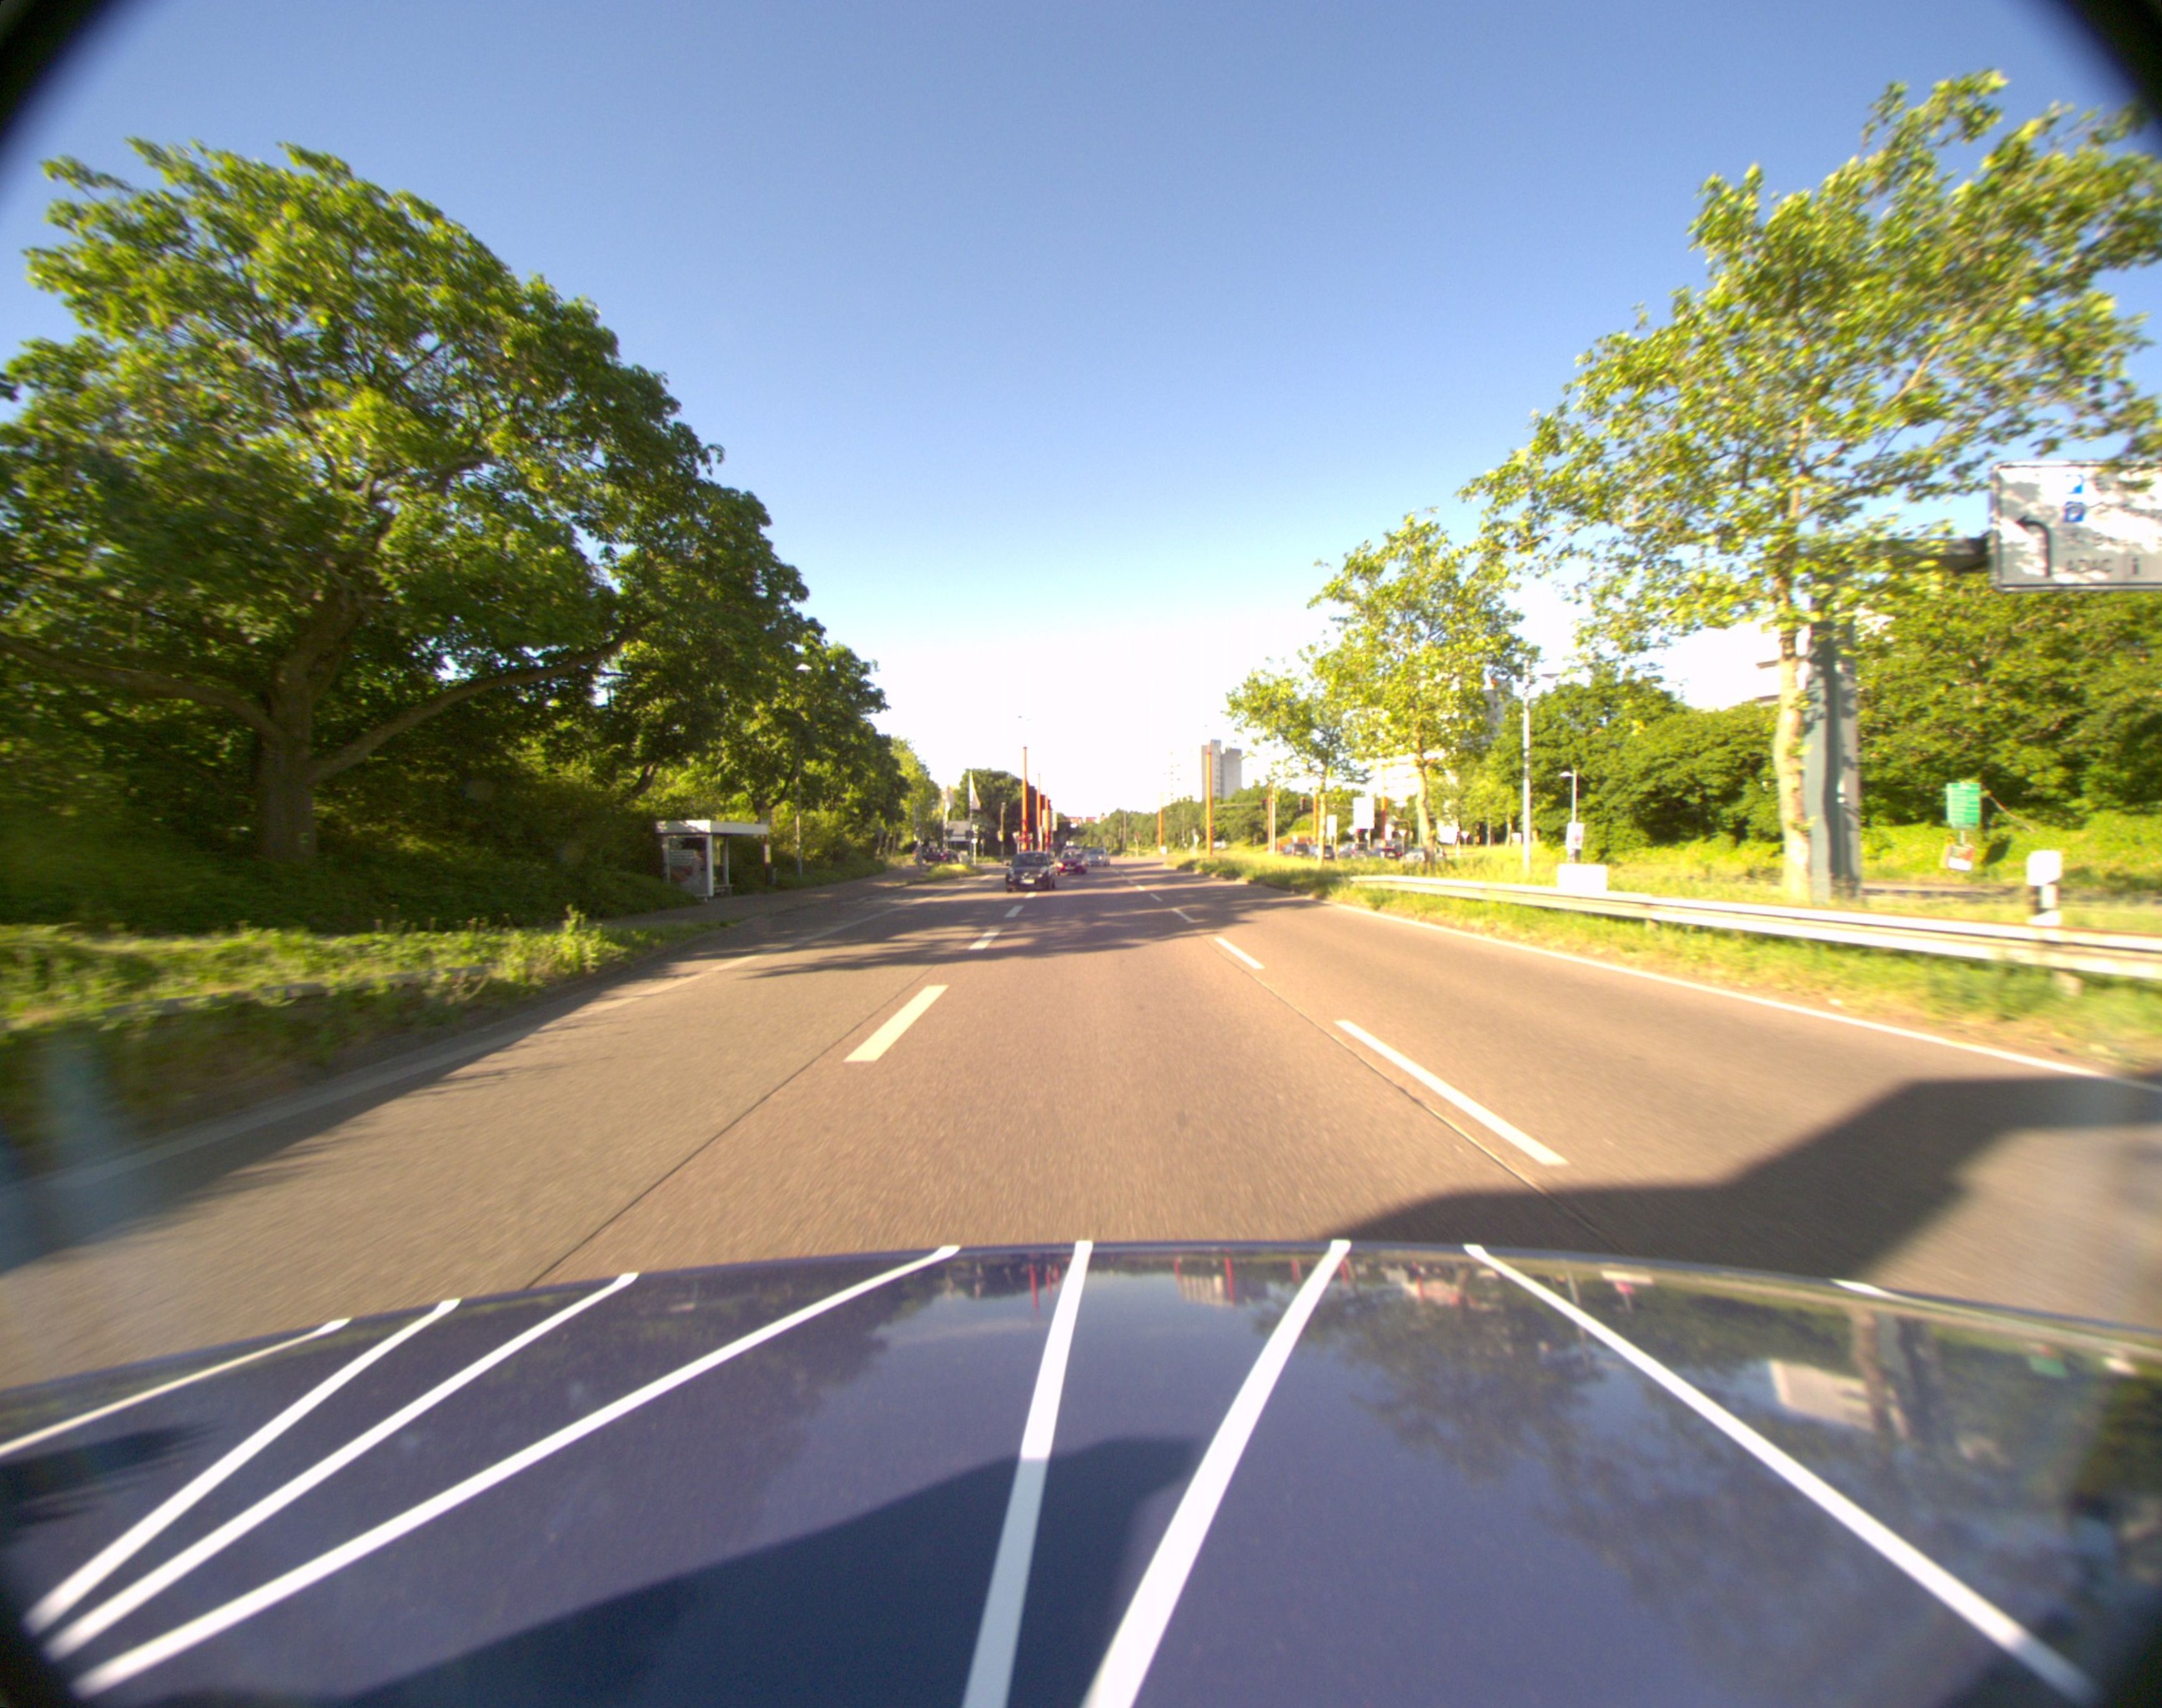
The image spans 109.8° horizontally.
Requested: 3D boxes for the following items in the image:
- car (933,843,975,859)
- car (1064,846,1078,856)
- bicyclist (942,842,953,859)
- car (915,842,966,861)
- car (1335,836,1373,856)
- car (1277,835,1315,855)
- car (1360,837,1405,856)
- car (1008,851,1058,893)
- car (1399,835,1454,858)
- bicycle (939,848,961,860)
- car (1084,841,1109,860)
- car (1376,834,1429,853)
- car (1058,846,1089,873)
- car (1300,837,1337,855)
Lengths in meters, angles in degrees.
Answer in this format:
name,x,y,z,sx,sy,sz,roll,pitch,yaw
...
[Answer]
name,x,y,z,sx,sy,sz,roll,pitch,yaw
car,-13.116,-0.299,78.462,4.094,1.530,1.770,-1,1,-19
car,-1.522,-0.429,117.943,1.999,1.486,4.287,0,1,-4
bicyclist,-12.503,-0.342,71.218,0.981,1.549,0.760,0,1,-11
car,-13.771,-0.249,74.322,4.657,1.716,1.905,-1,1,-18
car,25.068,-0.763,69.948,1.903,1.765,4.446,1,1,0
car,18.467,-0.781,65.475,1.903,1.556,4.564,1,1,0
car,25.107,-0.646,63.362,1.903,1.466,4.564,1,1,0
car,-1.800,0.630,29.685,1.739,1.474,4.621,0,1,-1
car,25.410,-0.539,56.071,1.903,1.601,4.564,1,1,0
bicycle,-12.329,-0.001,71.259,2.015,1.085,0.765,0,1,-11
car,1.372,-0.303,65.220,1.913,1.549,4.727,-1,1,4
car,39.160,-1.309,92.487,5.661,2.191,2.039,-1,1,-8
car,-0.419,0.299,46.567,1.772,1.549,4.726,-1,1,1
car,21.455,-0.744,68.866,1.903,1.601,4.564,1,1,0
